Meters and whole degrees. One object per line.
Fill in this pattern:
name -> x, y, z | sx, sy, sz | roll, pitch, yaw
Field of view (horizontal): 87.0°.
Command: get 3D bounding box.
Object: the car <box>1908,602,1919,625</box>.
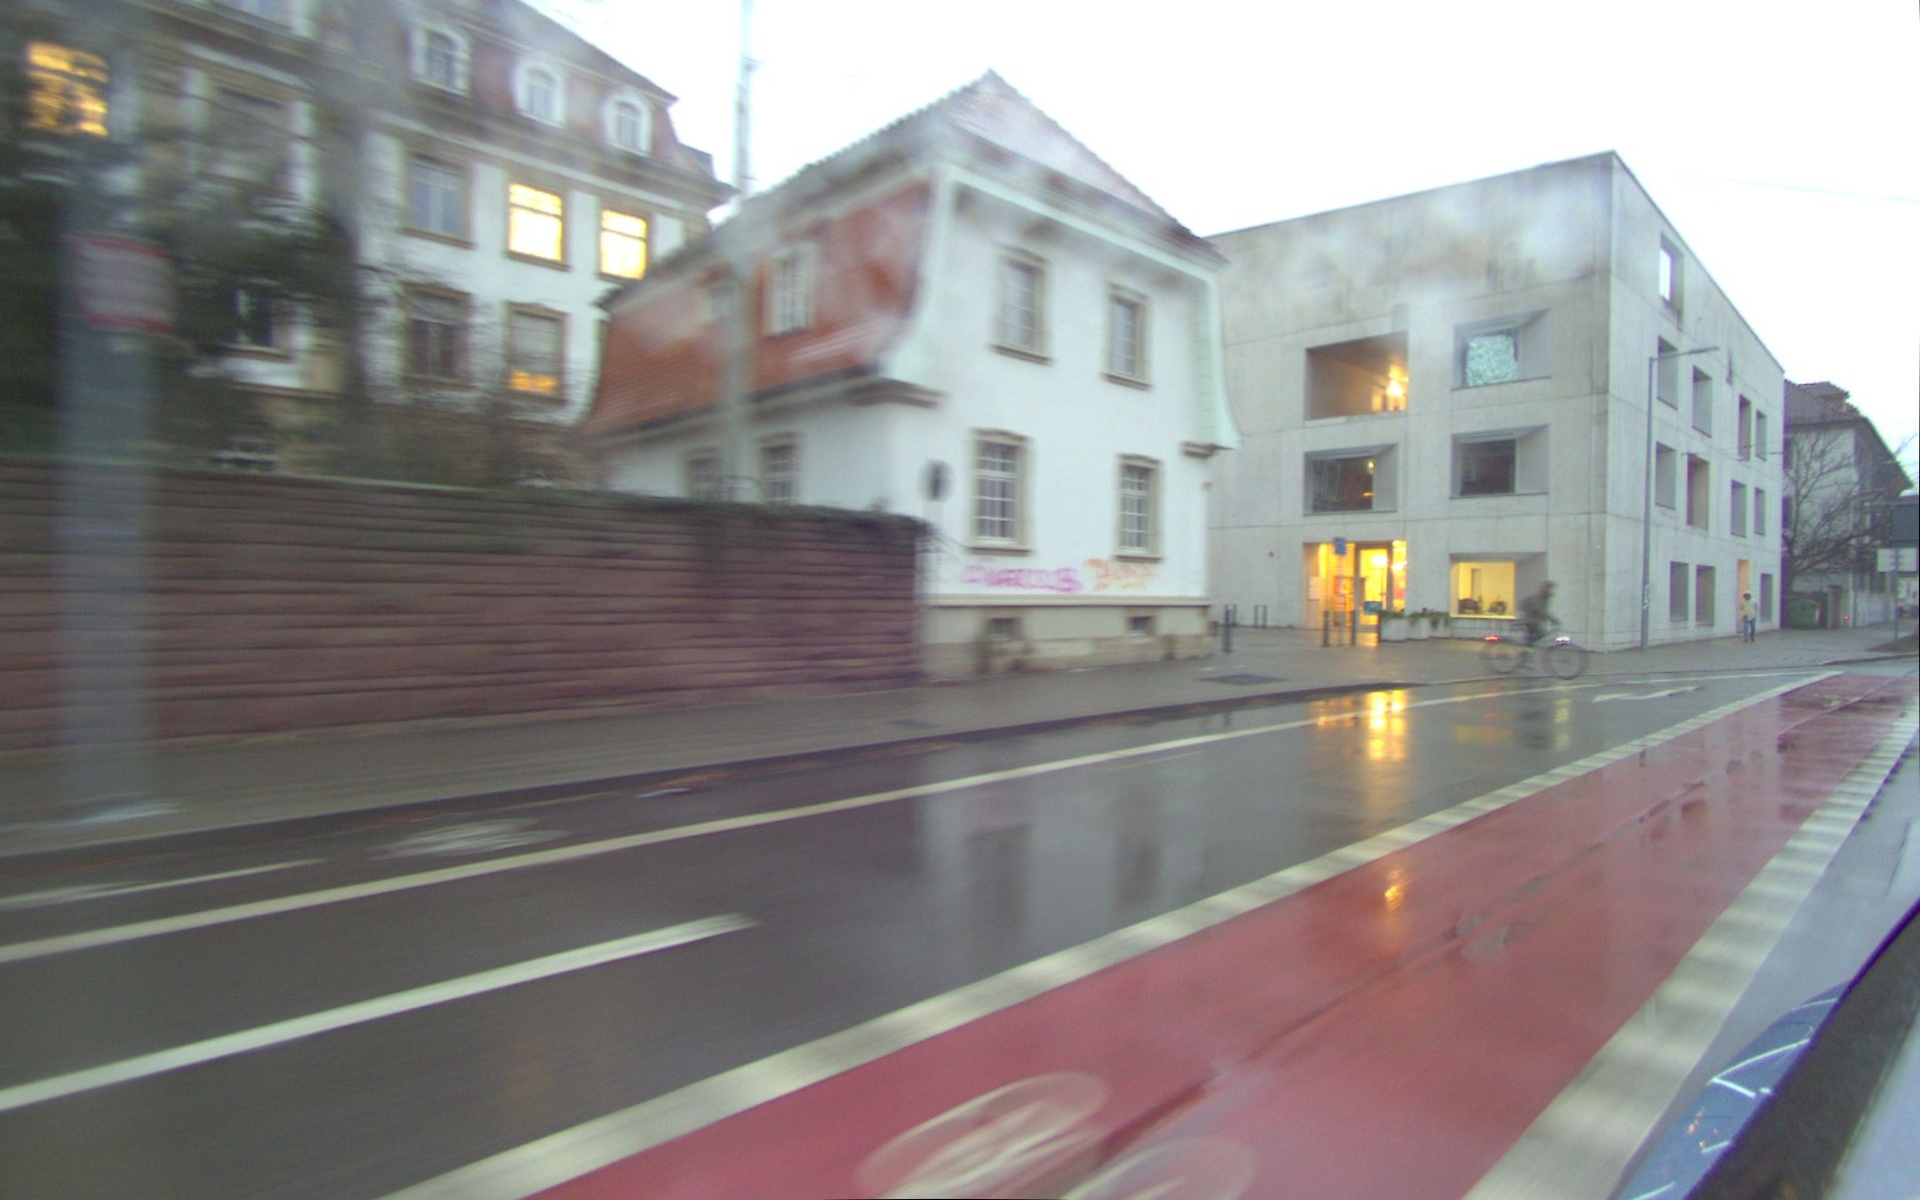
car -> 61.989, 0.802, 63.134 | 3.825, 1.447, 1.842 | -1, -1, 31

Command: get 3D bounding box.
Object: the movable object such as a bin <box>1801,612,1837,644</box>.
movable object such as a bin -> 42.337, 1.374, 49.881 | 1.257, 1.464, 1.396 | 2, 1, 45

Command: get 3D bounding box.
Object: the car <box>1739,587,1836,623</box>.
car -> 40.418, 0.250, 49.494 | 1.703, 1.668, 3.453 | 0, -1, -43

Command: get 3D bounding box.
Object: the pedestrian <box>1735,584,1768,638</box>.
pedestrian -> 28.366, 0.380, 36.277 | 0.706, 1.881, 0.772 | 0, 2, -41

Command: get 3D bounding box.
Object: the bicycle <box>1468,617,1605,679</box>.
bicycle -> 11.367, 0.914, 20.007 | 0.927, 0.955, 2.122 | 0, 4, -39

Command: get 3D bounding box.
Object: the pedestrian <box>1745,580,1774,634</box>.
pedestrian -> 28.506, 0.252, 36.098 | 0.648, 1.882, 0.657 | 0, 2, -41

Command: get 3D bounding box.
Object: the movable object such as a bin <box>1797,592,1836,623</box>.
movable object such as a bin -> 41.085, 0.340, 48.563 | 1.395, 1.464, 1.258 | 0, 1, -43

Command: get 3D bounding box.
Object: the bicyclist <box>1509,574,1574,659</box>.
bicyclist -> 11.394, 0.305, 19.844 | 0.766, 1.615, 0.856 | 0, 1, -38
